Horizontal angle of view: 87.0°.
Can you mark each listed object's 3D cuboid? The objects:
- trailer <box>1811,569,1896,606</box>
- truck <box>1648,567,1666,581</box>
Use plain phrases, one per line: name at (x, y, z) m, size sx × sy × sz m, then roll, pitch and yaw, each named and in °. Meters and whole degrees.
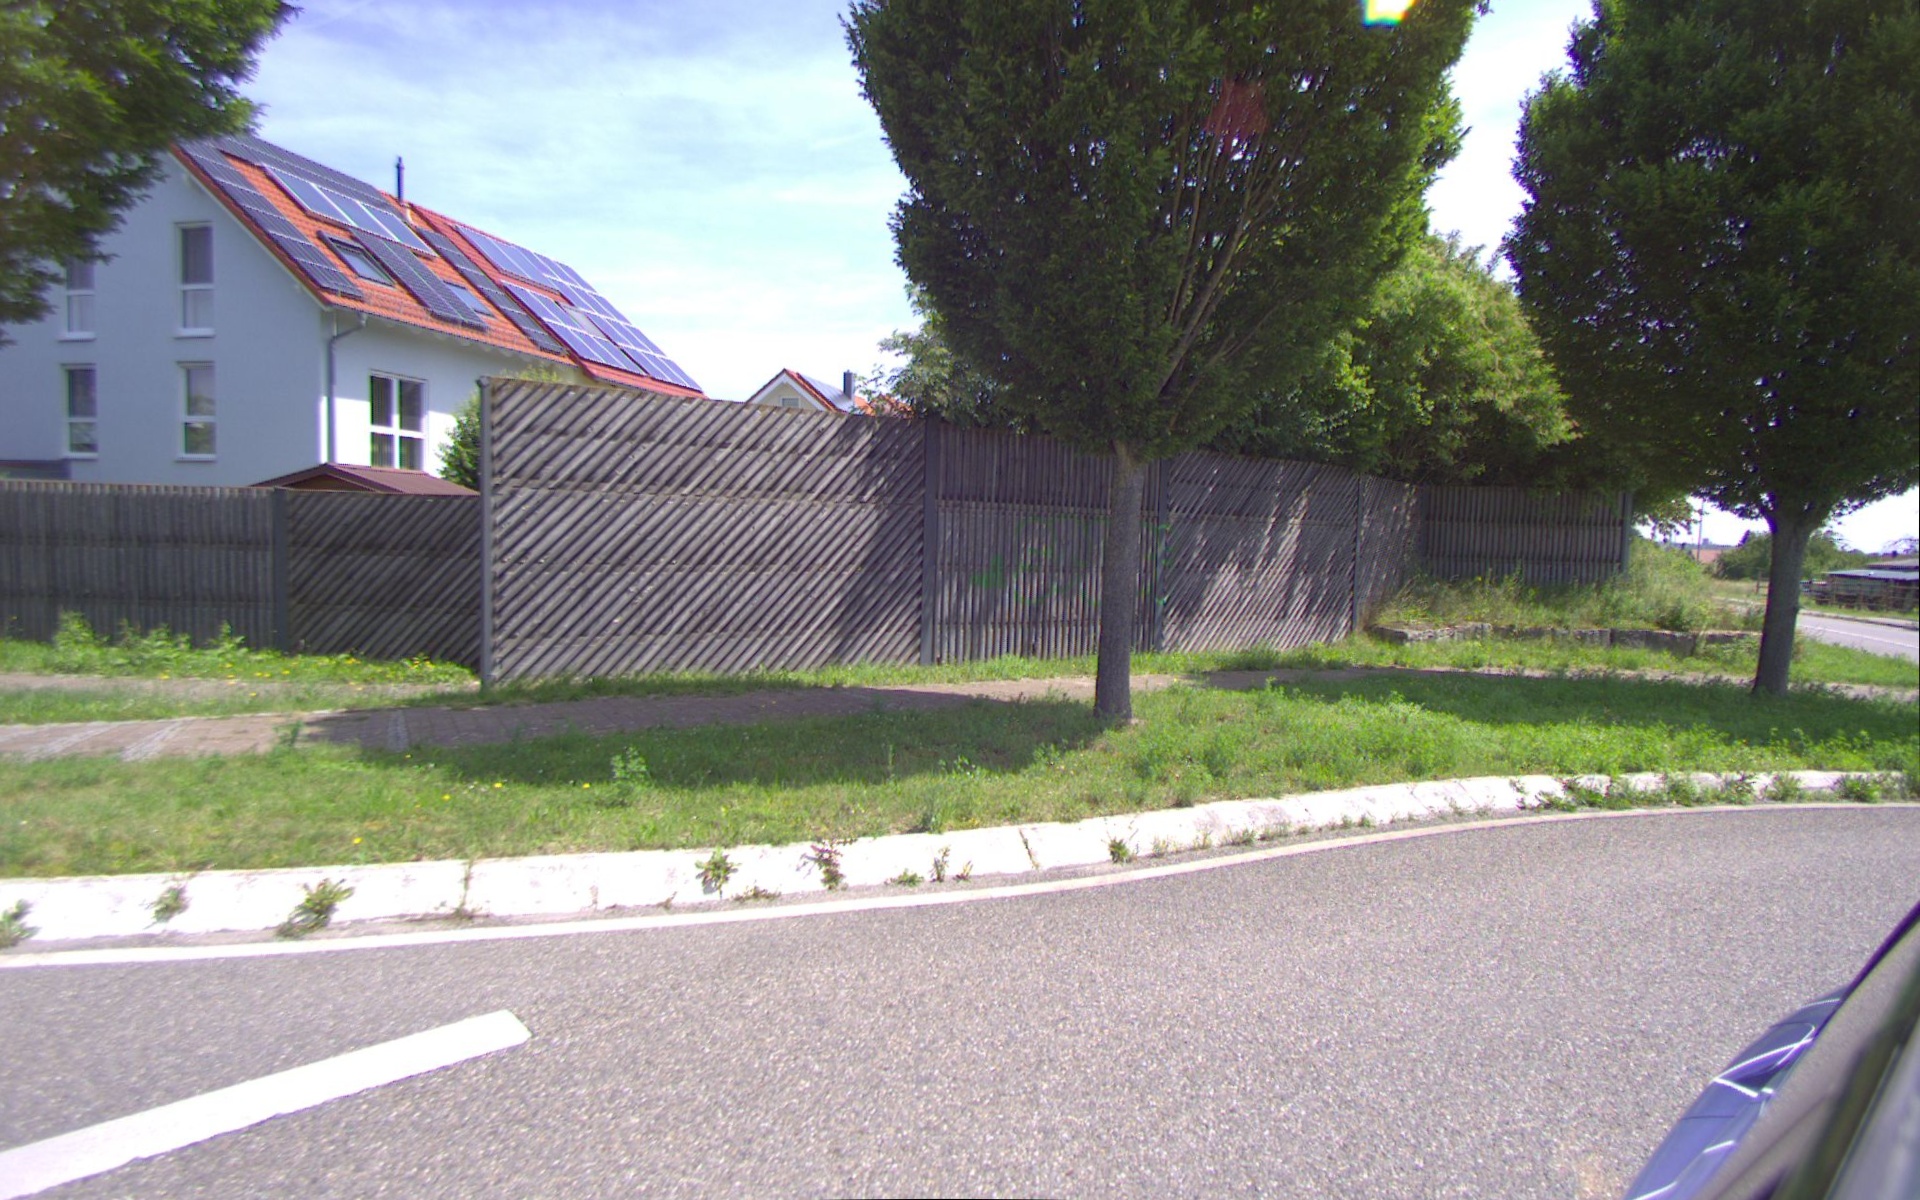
trailer at (49.069, -0.751, 55.712) m, size 2.142 × 1.723 × 4.984 m, roll 5°, pitch 4°, yaw 26°
truck at (126.886, -4.764, 184.212) m, size 2.214 × 2.320 × 6.419 m, roll 5°, pitch 4°, yaw 32°
